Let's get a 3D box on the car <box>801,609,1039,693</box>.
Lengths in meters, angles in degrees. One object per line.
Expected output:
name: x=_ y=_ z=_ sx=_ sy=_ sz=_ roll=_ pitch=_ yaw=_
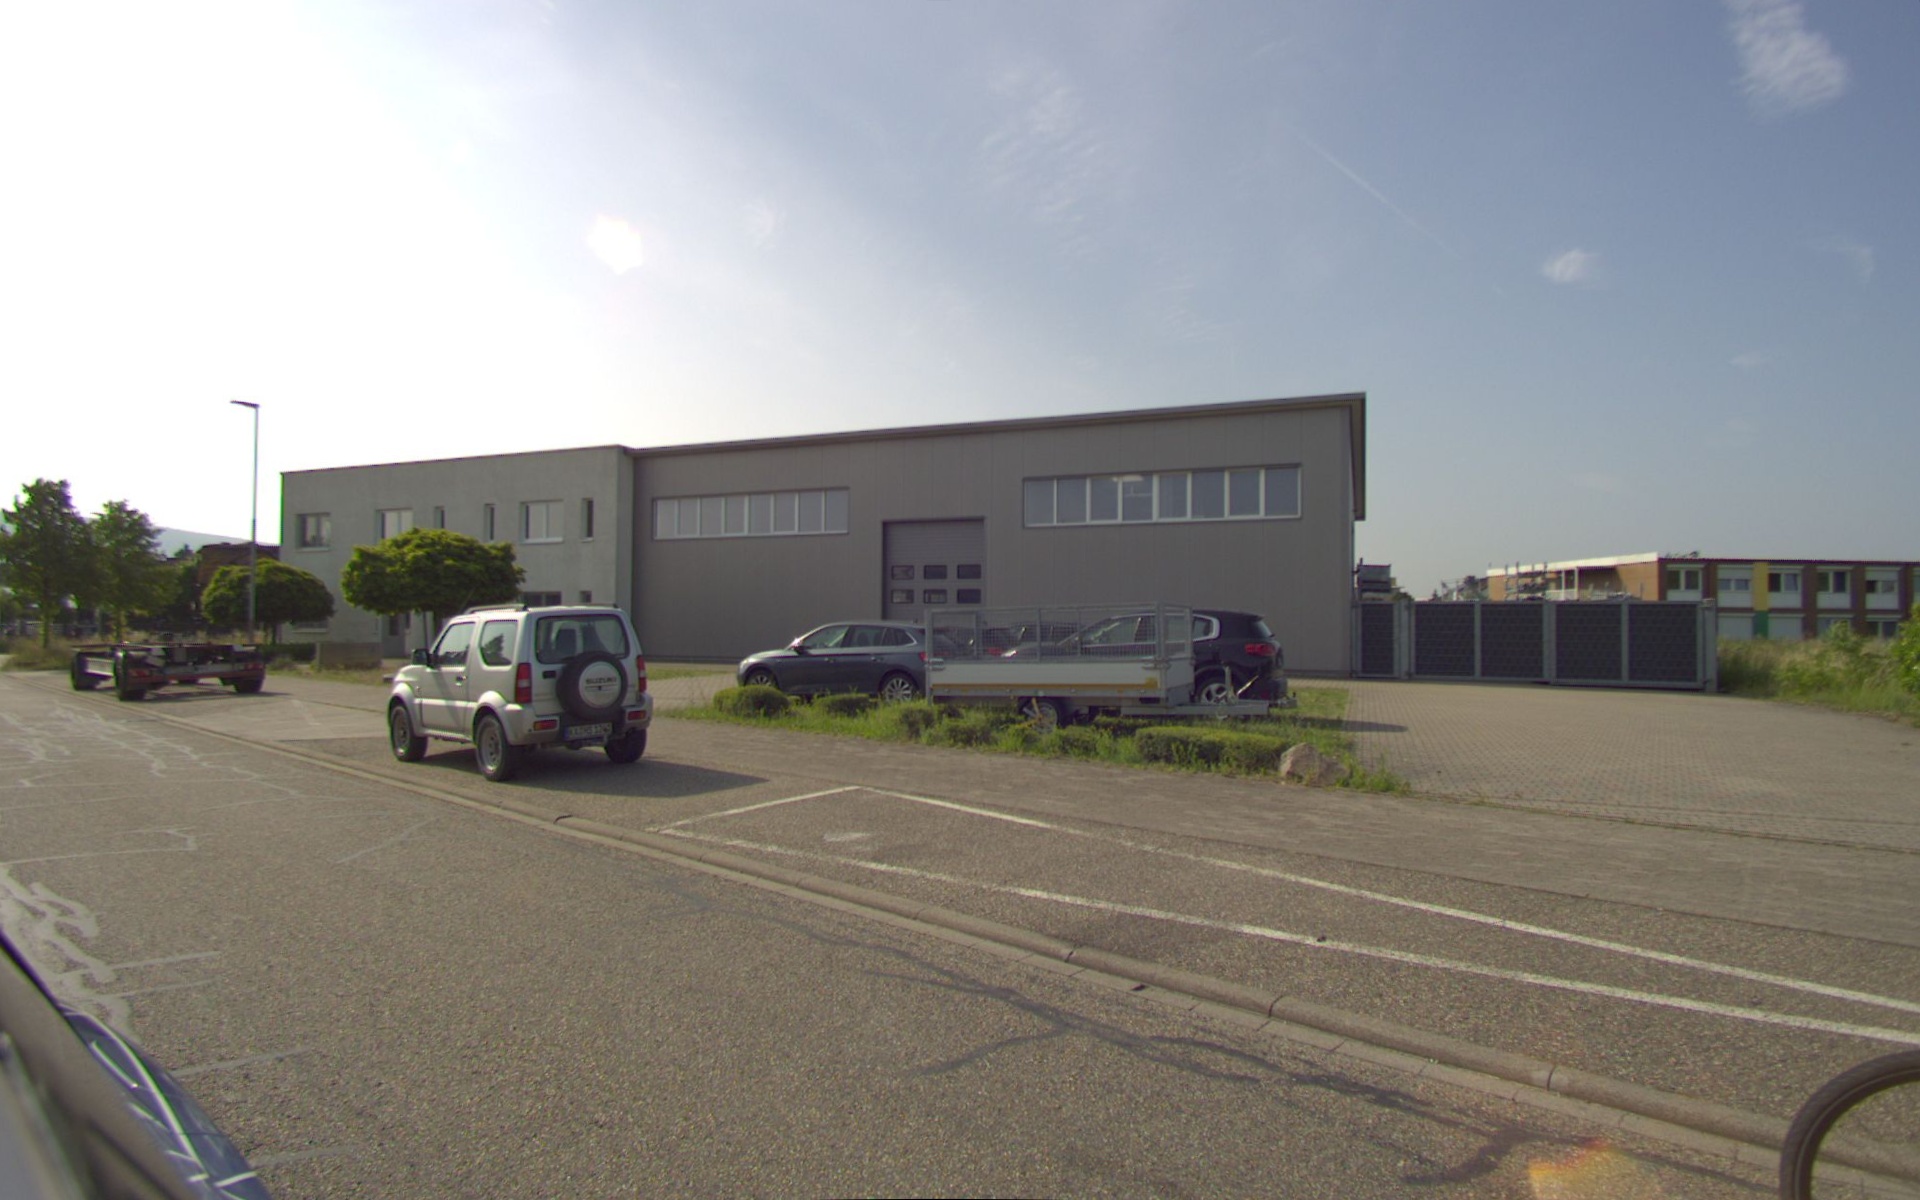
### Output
car: x=-0.778 y=0.949 z=19.567 sx=4.320 sy=1.487 sz=1.672 roll=-1 pitch=-1 yaw=22

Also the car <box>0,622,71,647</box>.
car: x=-68.159 y=2.536 z=74.407 sx=1.999 sy=1.741 sz=3.945 roll=-2 pitch=-2 yaw=42

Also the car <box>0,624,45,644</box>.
car: x=-84.717 y=3.012 z=90.362 sx=1.985 sy=1.807 sz=3.974 roll=-1 pitch=-2 yaw=19

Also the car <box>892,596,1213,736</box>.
car: x=1.209 y=0.774 z=13.177 sx=3.794 sy=1.583 sz=1.824 roll=-1 pitch=0 yaw=25

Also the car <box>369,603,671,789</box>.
car: x=-4.834 y=0.907 z=10.908 sx=3.642 sy=1.663 sz=1.580 roll=-2 pitch=-1 yaw=41

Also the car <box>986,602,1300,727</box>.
car: x=2.783 y=0.909 z=15.402 sx=4.394 sy=1.671 sz=1.980 roll=-1 pitch=-1 yaw=24

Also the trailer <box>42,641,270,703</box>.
trailer: x=-19.196 y=1.562 z=23.837 sx=9.726 sy=1.082 sz=2.519 roll=-2 pitch=-1 yaw=41

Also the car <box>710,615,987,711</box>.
car: x=-1.919 y=1.020 z=17.465 sx=4.394 sy=1.487 sz=1.966 roll=-1 pitch=-1 yaw=24

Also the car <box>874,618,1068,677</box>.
car: x=0.270 y=1.107 z=24.570 sx=4.320 sy=1.335 sz=1.981 roll=-1 pitch=-1 yaw=22

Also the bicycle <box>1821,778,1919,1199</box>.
bicycle: x=2.593 y=0.934 z=1.317 sx=2.218 sy=1.131 sz=0.708 roll=-2 pitch=-5 yaw=41
